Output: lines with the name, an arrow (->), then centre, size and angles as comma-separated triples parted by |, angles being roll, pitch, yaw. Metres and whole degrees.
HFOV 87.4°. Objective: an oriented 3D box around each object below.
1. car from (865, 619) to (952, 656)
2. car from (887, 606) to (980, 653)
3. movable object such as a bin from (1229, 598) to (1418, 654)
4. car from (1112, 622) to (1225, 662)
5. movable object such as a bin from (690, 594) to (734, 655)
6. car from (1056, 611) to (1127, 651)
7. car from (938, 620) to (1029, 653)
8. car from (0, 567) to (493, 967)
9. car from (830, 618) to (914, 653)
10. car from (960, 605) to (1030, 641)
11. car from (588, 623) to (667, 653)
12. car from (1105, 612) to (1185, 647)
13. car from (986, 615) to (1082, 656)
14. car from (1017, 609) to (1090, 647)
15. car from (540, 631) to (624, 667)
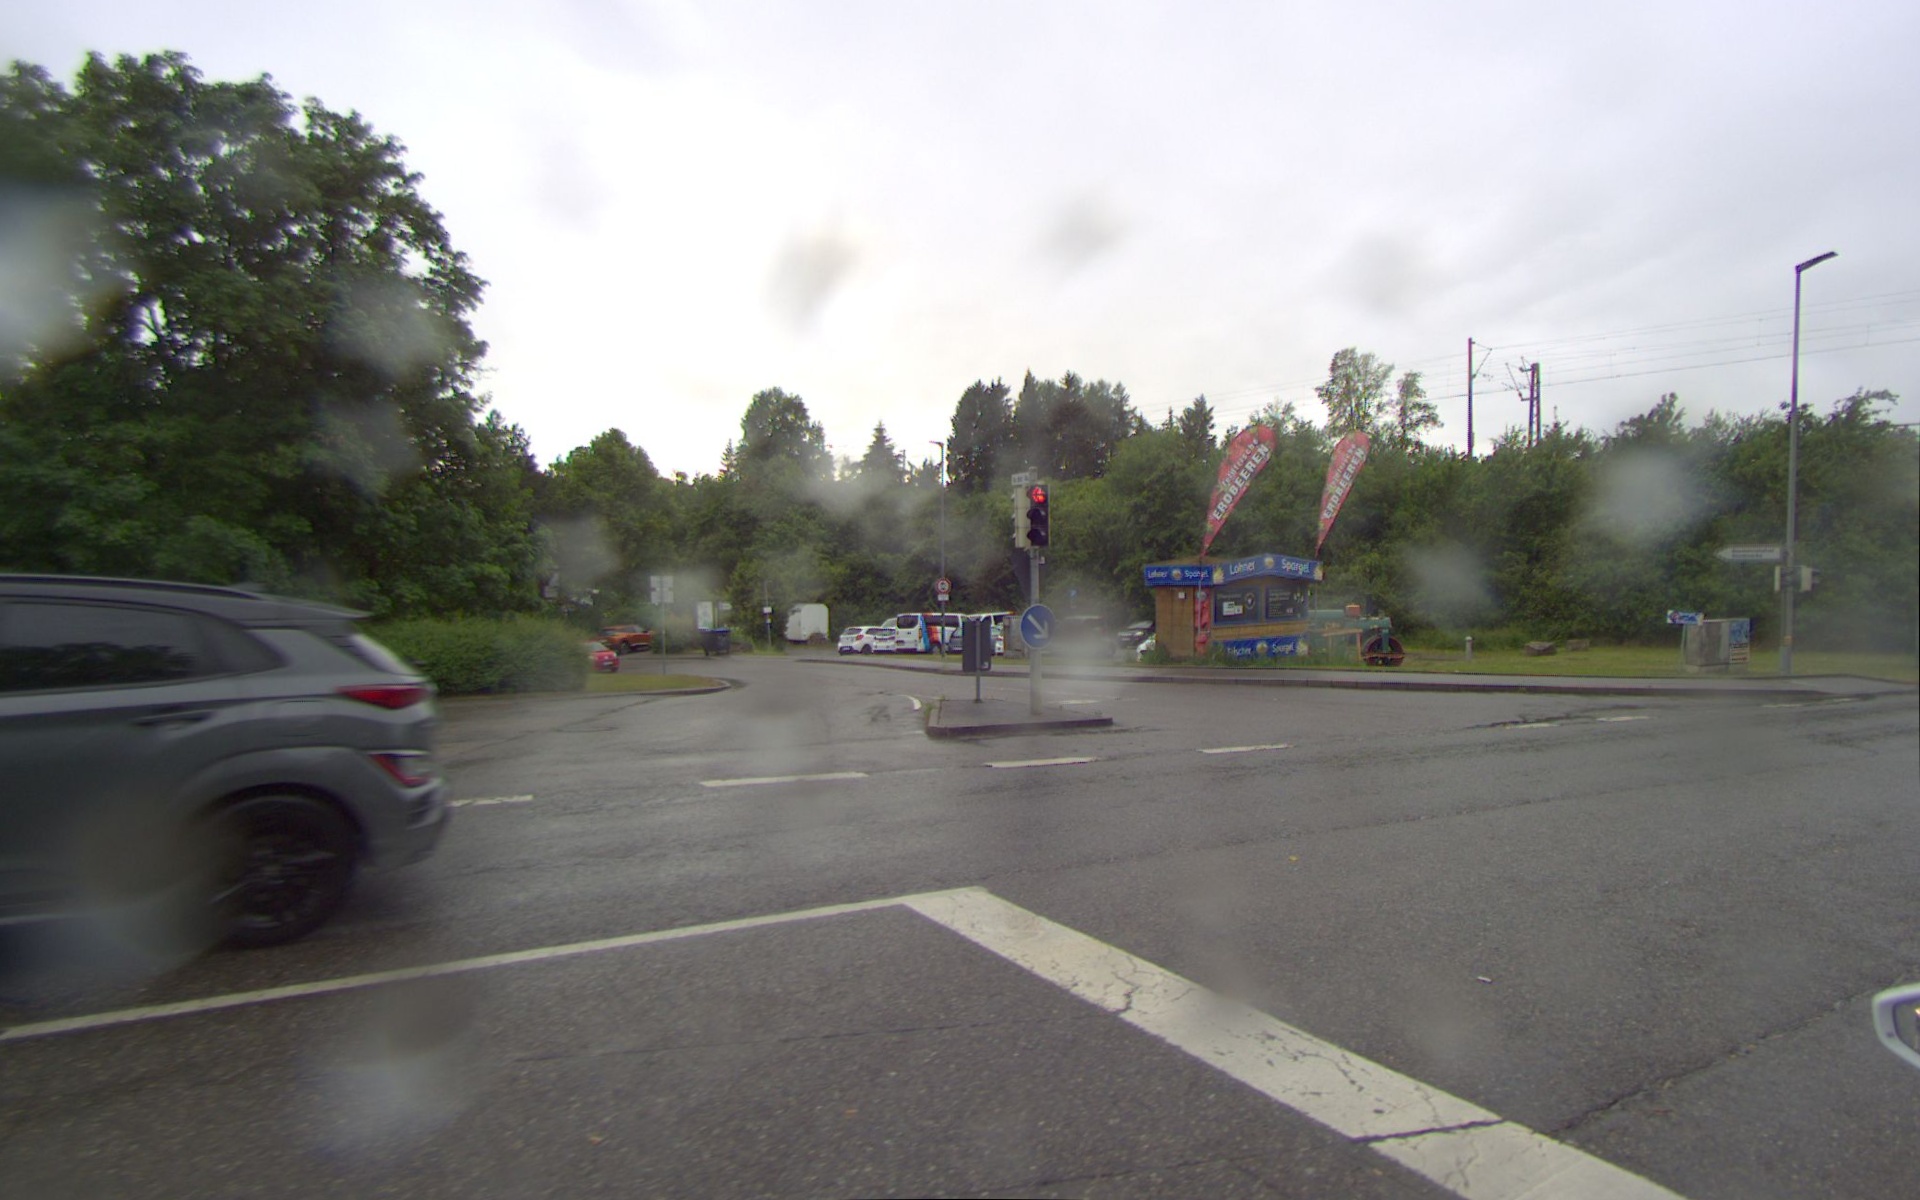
car -> -2.402, 1.806, 47.786 | 1.834, 1.606, 3.979 | 1, -1, 42
car -> -1.176, 1.362, 45.852 | 1.971, 1.974, 3.979 | 1, -1, 42
movable object such as a bin -> 12.231, 0.881, 34.288 | 5.663, 1.649, 2.753 | 2, -1, 10
car -> 7.934, 1.600, 37.931 | 4.869, 1.358, 1.636 | 3, -1, -43
movable object such as a bin -> -13.198, 1.304, 53.506 | 1.765, 3.192, 1.304 | 2, -1, 28
car -> 7.119, 1.678, 54.373 | 1.916, 2.040, 3.846 | 1, 0, 43
car -> 1.086, 1.636, 44.604 | 3.972, 1.327, 1.734 | 3, -1, -43
car -> -4.260, 0.609, 4.253 | 3.957, 1.489, 1.630 | 2, 0, -33
car -> -4.318, 1.789, 49.681 | 1.813, 1.606, 3.979 | 1, -1, 42
car -> 2.097, 1.333, 59.482 | 1.972, 2.040, 3.976 | 1, -1, 44
car -> -18.783, 2.143, 56.863 | 1.963, 1.606, 3.995 | 2, -1, 28
car -> 9.400, 1.515, 50.830 | 3.972, 1.606, 1.975 | 3, -1, -43
car -> 3.194, 1.546, 42.963 | 3.880, 1.606, 1.918 | 3, -1, -43
car -> 5.247, 1.553, 56.253 | 3.973, 2.040, 1.974 | 2, -2, -44
car -> -17.433, 2.244, 46.302 | 3.931, 1.421, 1.547 | 2, -1, 32
